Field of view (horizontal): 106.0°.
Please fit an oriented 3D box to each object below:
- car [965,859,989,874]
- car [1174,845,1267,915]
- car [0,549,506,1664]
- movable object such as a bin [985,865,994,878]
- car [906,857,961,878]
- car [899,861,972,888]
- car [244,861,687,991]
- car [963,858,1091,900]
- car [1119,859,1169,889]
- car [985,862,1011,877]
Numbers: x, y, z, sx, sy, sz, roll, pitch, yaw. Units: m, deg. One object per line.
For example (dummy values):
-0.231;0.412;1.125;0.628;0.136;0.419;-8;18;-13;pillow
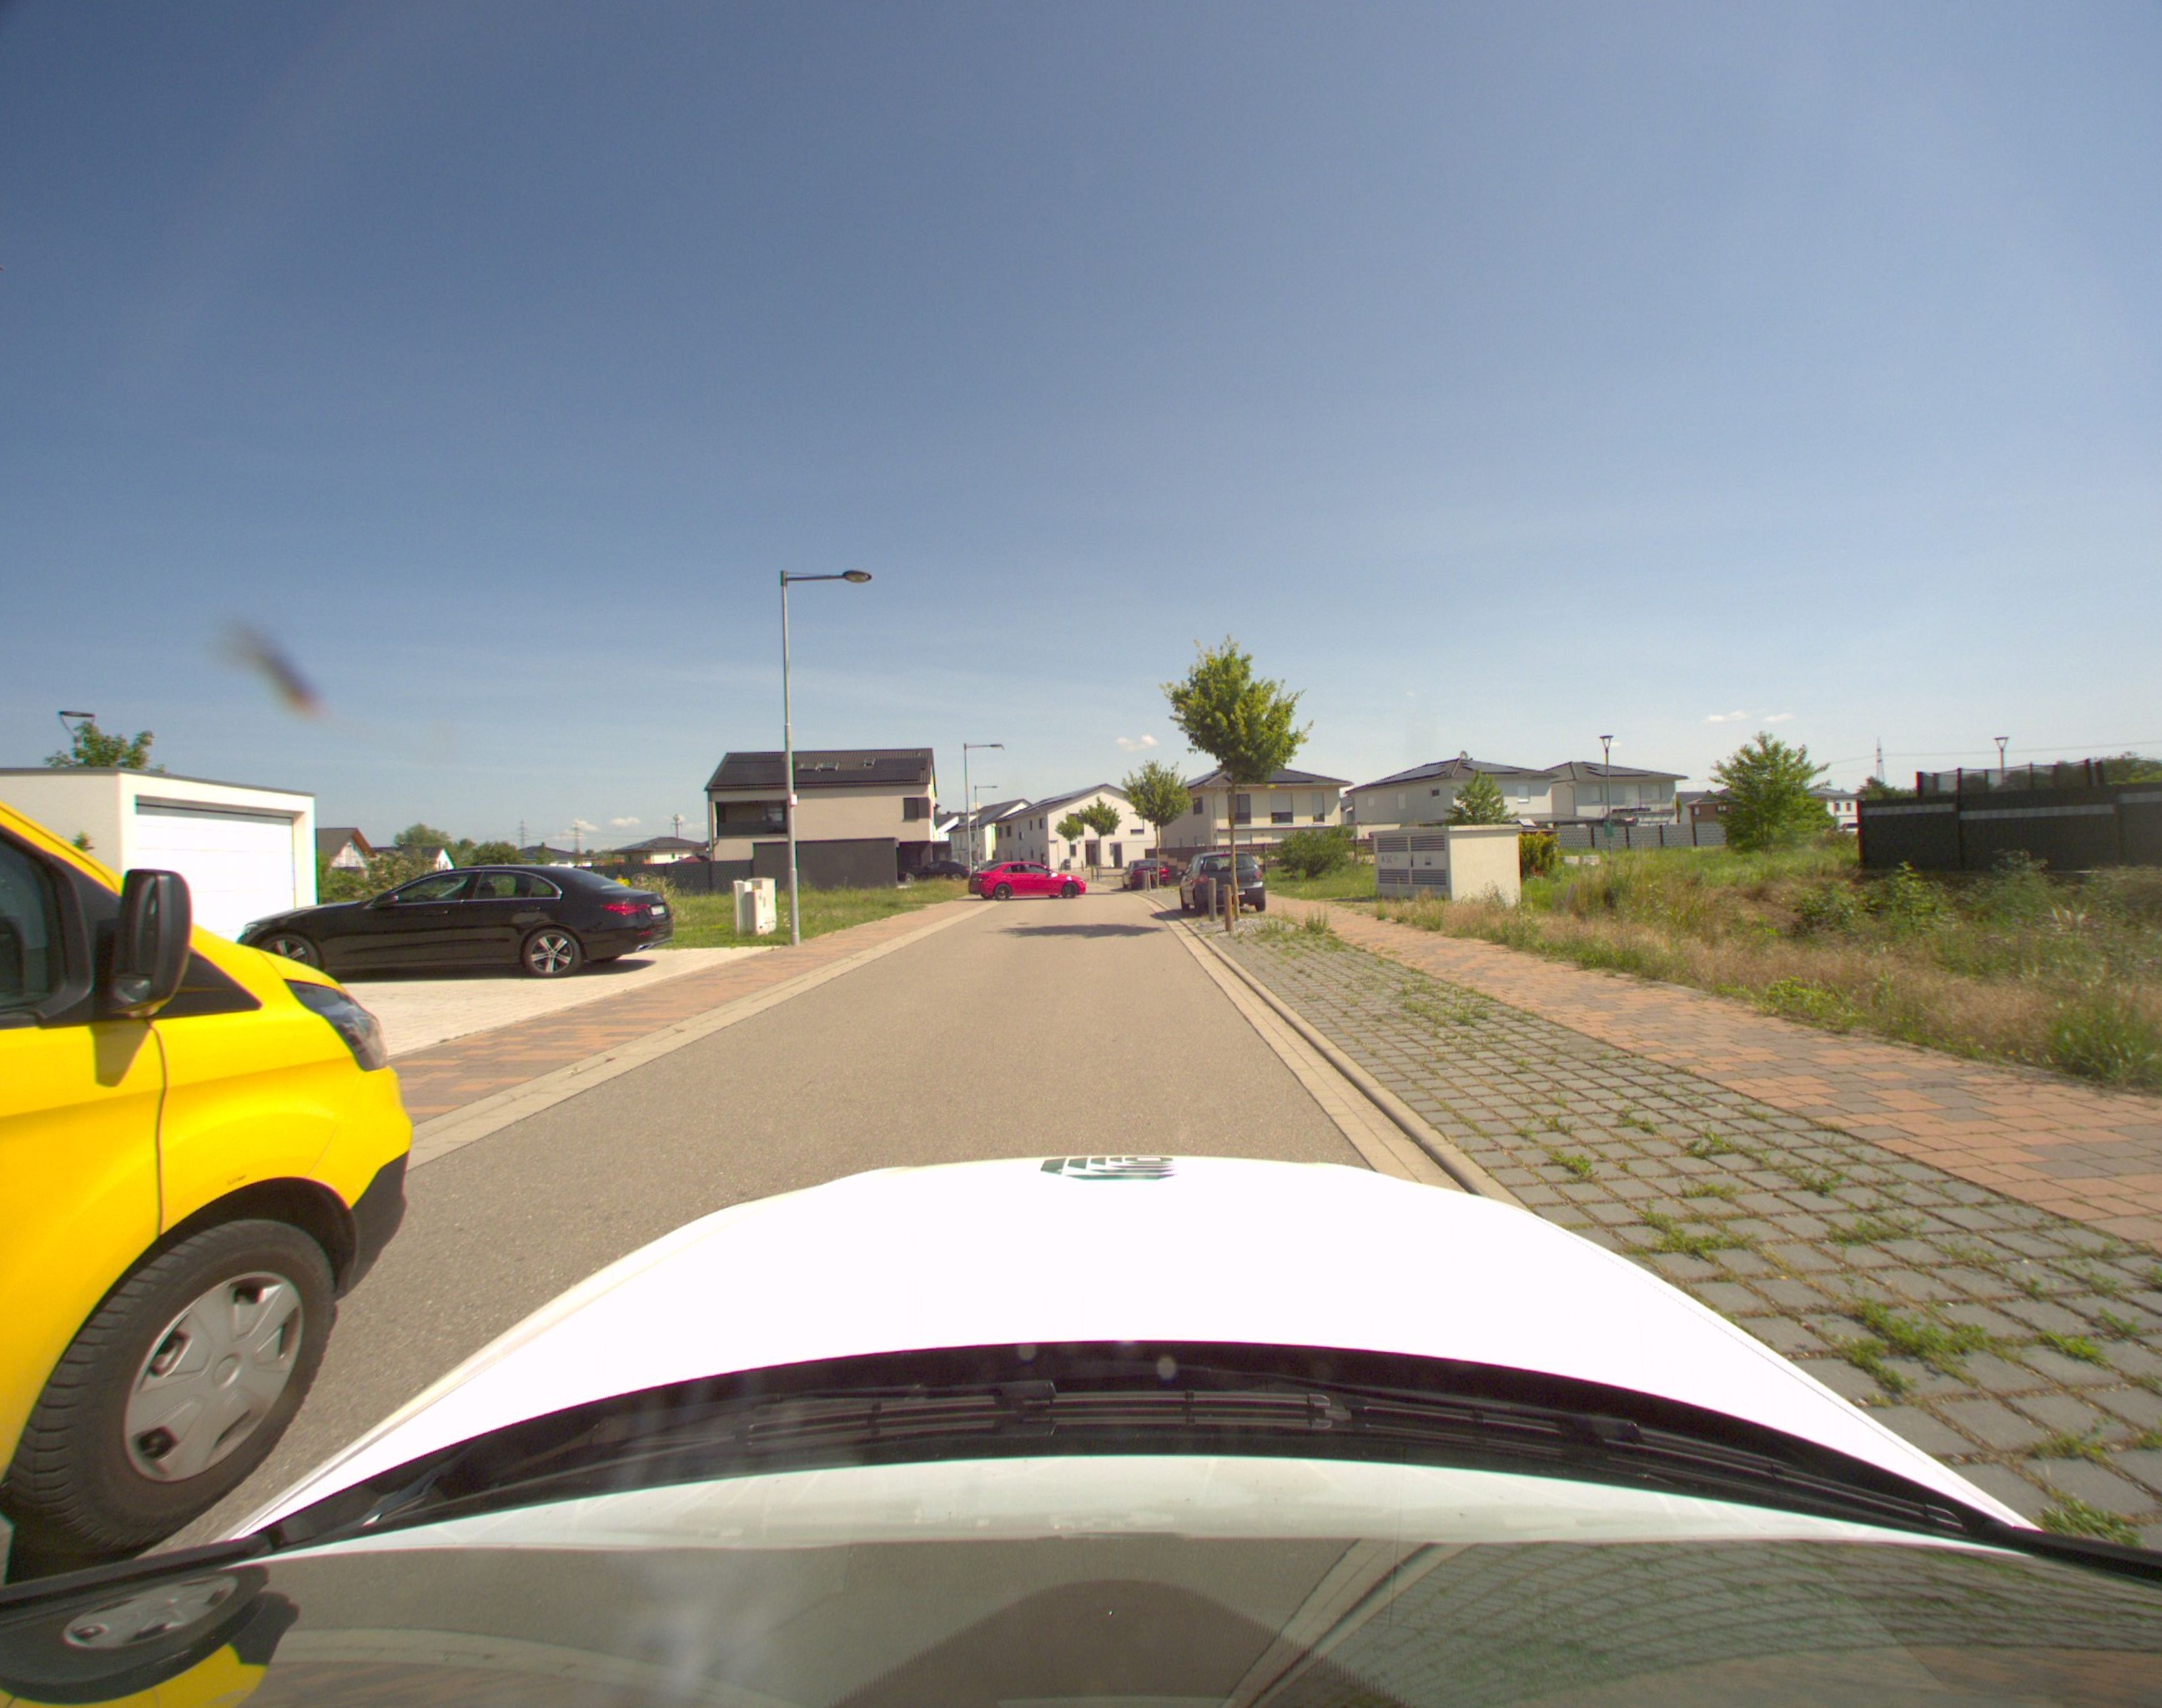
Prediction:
-11.614;1.414;90.725;1.683;1.464;3.916;-3;0;-21;car
3.328;0.591;20.092;1.593;1.475;3.674;-4;0;0;car
-2.855;0.460;0.370;1.879;2.014;4.836;-1;0;-3;car
-6.888;1.313;61.336;0.532;0.936;0.526;-1;-1;2;movable object such as a bin
-11.507;1.074;63.726;3.981;1.486;1.751;-2;0;-6;car
-9.055;1.258;51.062;4.372;1.631;1.766;0;-1;-7;car
-7.921;0.866;10.954;4.396;1.452;1.742;-1;-1;-12;car
-2.024;0.911;30.958;4.529;1.438;1.753;-1;0;-27;car
2.976;0.915;39.074;1.751;1.363;4.569;-1;0;-4;car
-8.328;1.568;81.345;1.732;1.423;3.975;-3;0;-18;car
